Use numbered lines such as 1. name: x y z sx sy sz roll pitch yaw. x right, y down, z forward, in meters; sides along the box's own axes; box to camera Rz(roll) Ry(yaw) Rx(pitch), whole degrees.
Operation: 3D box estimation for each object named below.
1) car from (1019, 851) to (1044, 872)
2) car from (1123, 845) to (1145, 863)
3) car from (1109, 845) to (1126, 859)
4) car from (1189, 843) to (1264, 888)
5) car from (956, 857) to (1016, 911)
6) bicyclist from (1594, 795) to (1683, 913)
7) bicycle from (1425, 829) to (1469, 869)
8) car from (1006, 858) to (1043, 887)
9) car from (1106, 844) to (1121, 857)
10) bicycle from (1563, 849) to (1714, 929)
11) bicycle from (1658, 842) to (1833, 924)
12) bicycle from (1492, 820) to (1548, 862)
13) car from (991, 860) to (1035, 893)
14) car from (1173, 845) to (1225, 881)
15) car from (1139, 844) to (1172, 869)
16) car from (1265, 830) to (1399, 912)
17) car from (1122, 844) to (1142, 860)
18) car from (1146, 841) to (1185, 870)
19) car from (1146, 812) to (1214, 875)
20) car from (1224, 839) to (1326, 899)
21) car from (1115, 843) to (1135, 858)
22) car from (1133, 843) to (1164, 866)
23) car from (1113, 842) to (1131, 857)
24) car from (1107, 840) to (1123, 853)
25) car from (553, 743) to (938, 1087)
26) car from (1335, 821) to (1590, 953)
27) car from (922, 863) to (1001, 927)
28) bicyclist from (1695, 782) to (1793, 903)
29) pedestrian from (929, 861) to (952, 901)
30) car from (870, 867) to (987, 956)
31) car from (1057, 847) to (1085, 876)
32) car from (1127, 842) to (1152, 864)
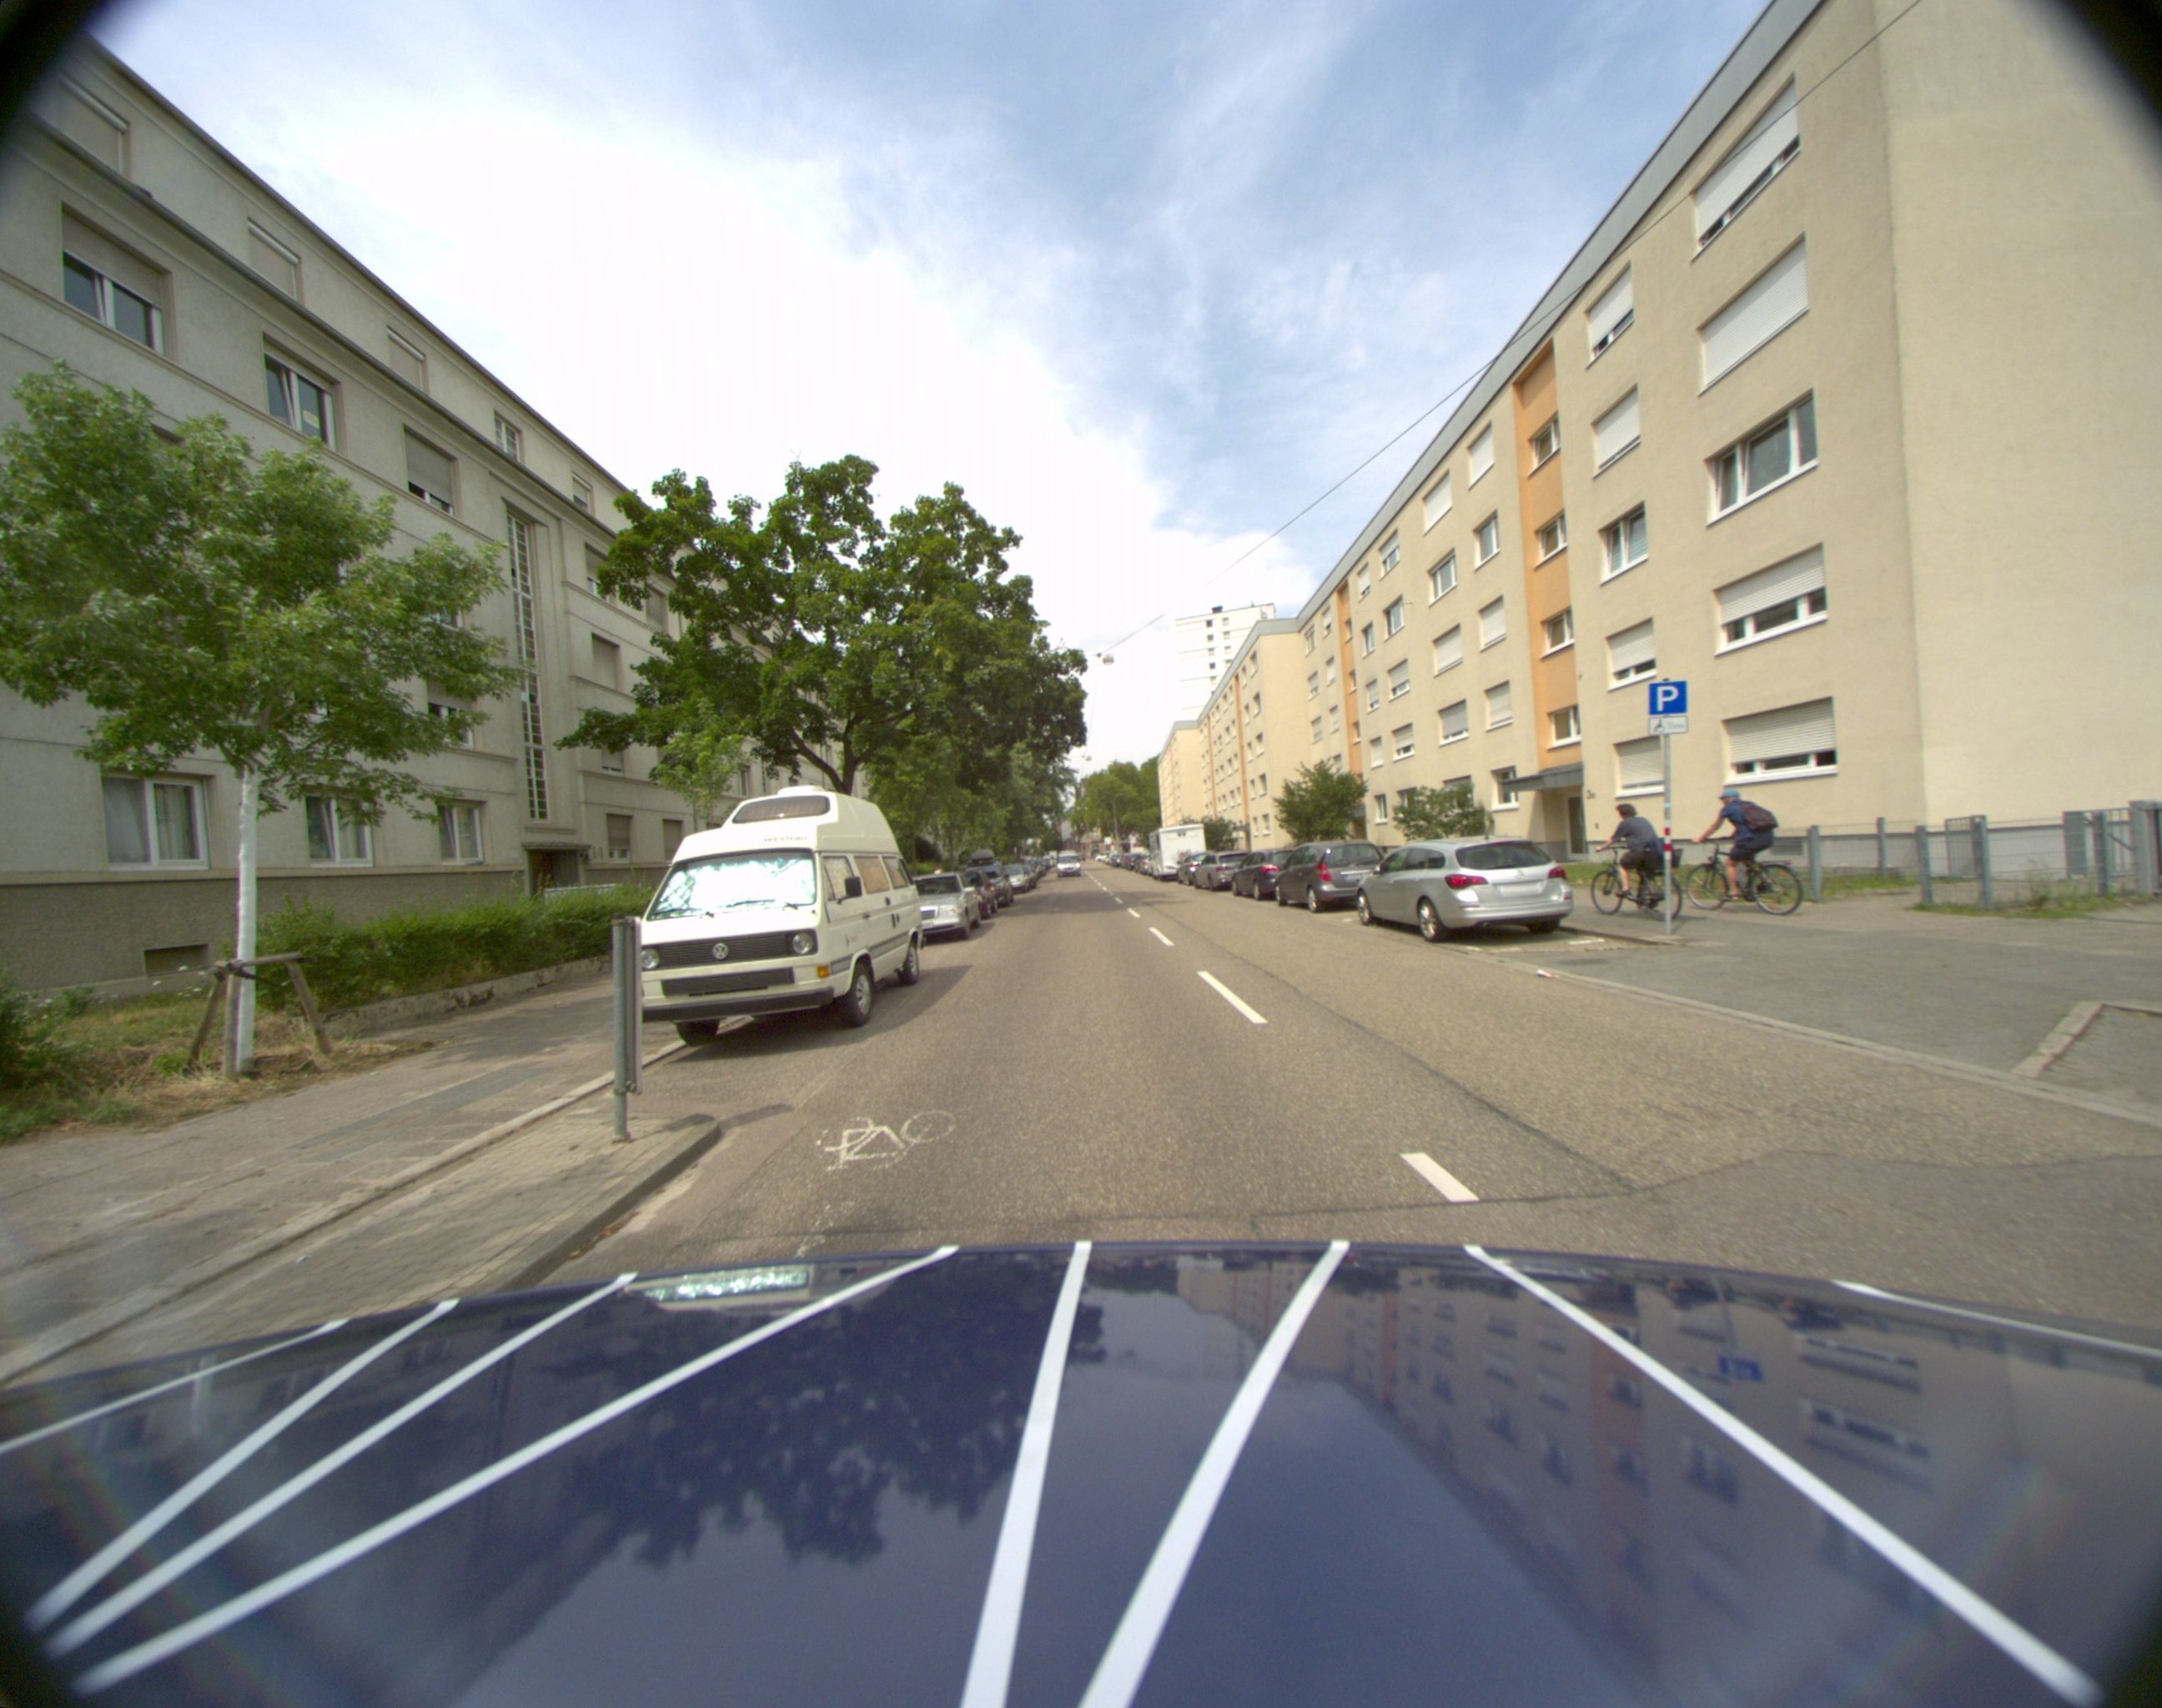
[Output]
1. car: -3.857 0.574 59.128 1.676 1.369 3.784 -6 1 -2
2. car: 4.960 -0.021 71.244 1.730 1.608 3.894 -3 1 0
3. car: 4.493 -0.237 94.297 1.806 1.625 3.893 -3 1 -2
4. car: 5.496 0.384 29.346 1.722 1.498 4.624 -4 1 -3
5. car: -3.314 0.997 27.196 1.676 1.666 4.270 -3 1 -2
6. bicyclist: 8.055 0.000 11.012 0.616 1.599 0.765 -5 2 0
7. bicycle: 11.785 -0.185 24.522 0.533 1.200 2.018 -7 1 7
8. car: -3.092 0.988 42.223 1.676 1.445 3.785 -3 1 1
9. car: 4.511 -0.450 104.765 1.806 1.625 3.894 -3 1 0
10. bicycle: 8.106 0.459 11.178 0.625 0.996 2.081 -5 1 0
11. bicycle: 9.390 0.360 10.869 0.625 0.996 2.081 -5 1 0
12. bicycle: 13.702 -0.411 23.754 0.534 1.200 2.018 -6 1 2
13. car: -3.276 1.073 37.258 1.676 1.392 3.785 -3 1 1
14. car: 5.394 0.365 35.159 1.616 1.475 4.057 -3 1 -1
15. car: 5.223 0.131 53.862 1.853 1.623 4.217 -3 1 0
16. car: 5.810 0.345 18.093 1.722 1.615 3.838 -4 1 -2
17. car: 5.014 -0.221 75.536 1.666 1.547 3.894 -3 1 0
18. car: 5.375 0.060 48.675 1.999 1.729 3.835 -3 1 0
19. car: 5.290 -0.560 41.799 2.621 3.040 7.113 -3 0 0
20. car: 5.702 0.378 22.887 1.681 1.495 4.262 -5 1 -3
21. car: 4.812 -0.403 83.778 1.806 1.625 3.894 -3 1 0
22. car: 5.256 0.016 59.411 1.844 1.670 4.216 -3 1 -2
23. car: 4.731 -0.491 88.762 1.806 1.625 3.894 -3 1 0
24. car: 4.425 -0.964 99.826 1.806 1.625 3.894 -3 1 0
25. car: -3.176 0.459 8.618 1.900 2.587 4.903 -7 1 0
26. car: 5.803 0.431 12.321 1.791 1.554 4.551 -6 0 1
27. car: -3.372 1.109 22.040 1.676 1.445 3.784 -6 1 -2
28. bicyclist: 9.341 -0.160 10.734 0.616 1.599 0.765 -5 2 0
29. pedestrian: -6.453 1.231 34.908 0.808 1.794 0.763 -3 2 0
30. car: -3.221 1.143 16.944 1.676 1.442 4.642 -6 1 -2
31. car: -0.762 0.519 58.085 1.999 2.002 3.999 -3 1 0
32. car: 5.056 -0.092 65.881 1.723 1.787 3.894 -3 1 0
